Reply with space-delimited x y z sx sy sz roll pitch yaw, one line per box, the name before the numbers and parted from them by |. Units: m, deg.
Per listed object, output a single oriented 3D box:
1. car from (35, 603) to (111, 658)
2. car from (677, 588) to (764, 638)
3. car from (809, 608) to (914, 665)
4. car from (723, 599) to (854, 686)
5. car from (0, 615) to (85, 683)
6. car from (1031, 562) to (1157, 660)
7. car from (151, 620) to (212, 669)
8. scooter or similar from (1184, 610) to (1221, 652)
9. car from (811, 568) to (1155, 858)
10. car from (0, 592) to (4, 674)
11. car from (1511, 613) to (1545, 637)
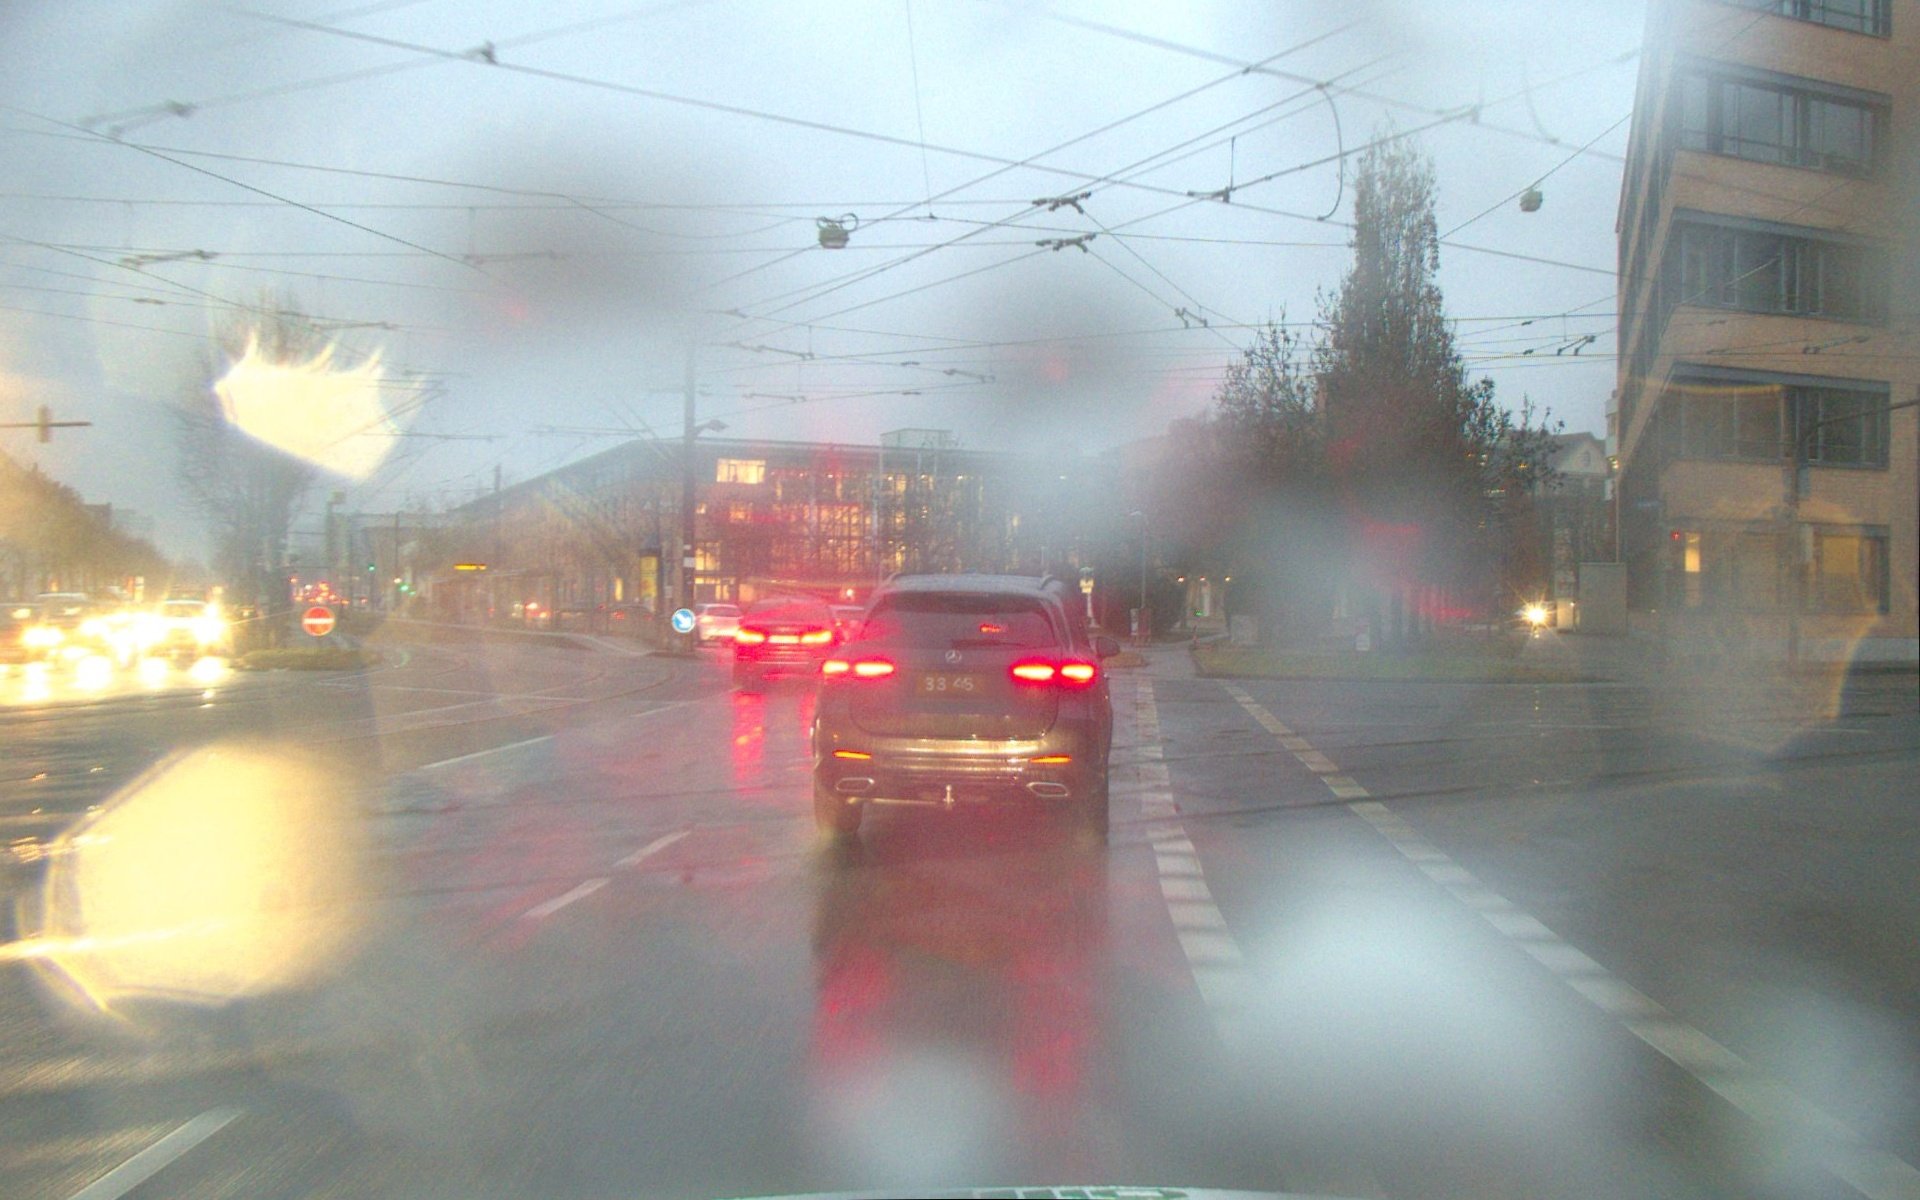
car | -26.411 0.873 49.332 1.658 1.580 4.091 0 0 -24
car | -8.318 0.431 57.258 1.968 1.646 3.968 0 0 -25
car | -3.084 1.097 51.256 1.968 1.646 3.968 0 0 -25
car | -2.953 0.705 29.249 1.953 1.422 3.999 0 0 -1
car | -21.463 1.113 38.646 1.466 1.513 3.132 0 0 -22
car | 2.695 0.193 32.522 1.951 1.796 4.003 0 0 12
car | -22.351 1.252 47.539 1.517 1.267 4.055 0 0 -25
scooter or similar | 7.365 0.935 50.199 1.135 1.253 0.480 0 0 -41
car | 0.143 0.634 11.366 1.950 1.644 4.000 0 0 0
car | -17.481 0.587 27.789 1.655 1.483 4.310 0 0 -19
car | 30.566 1.327 88.913 1.632 1.201 3.708 0 0 20
